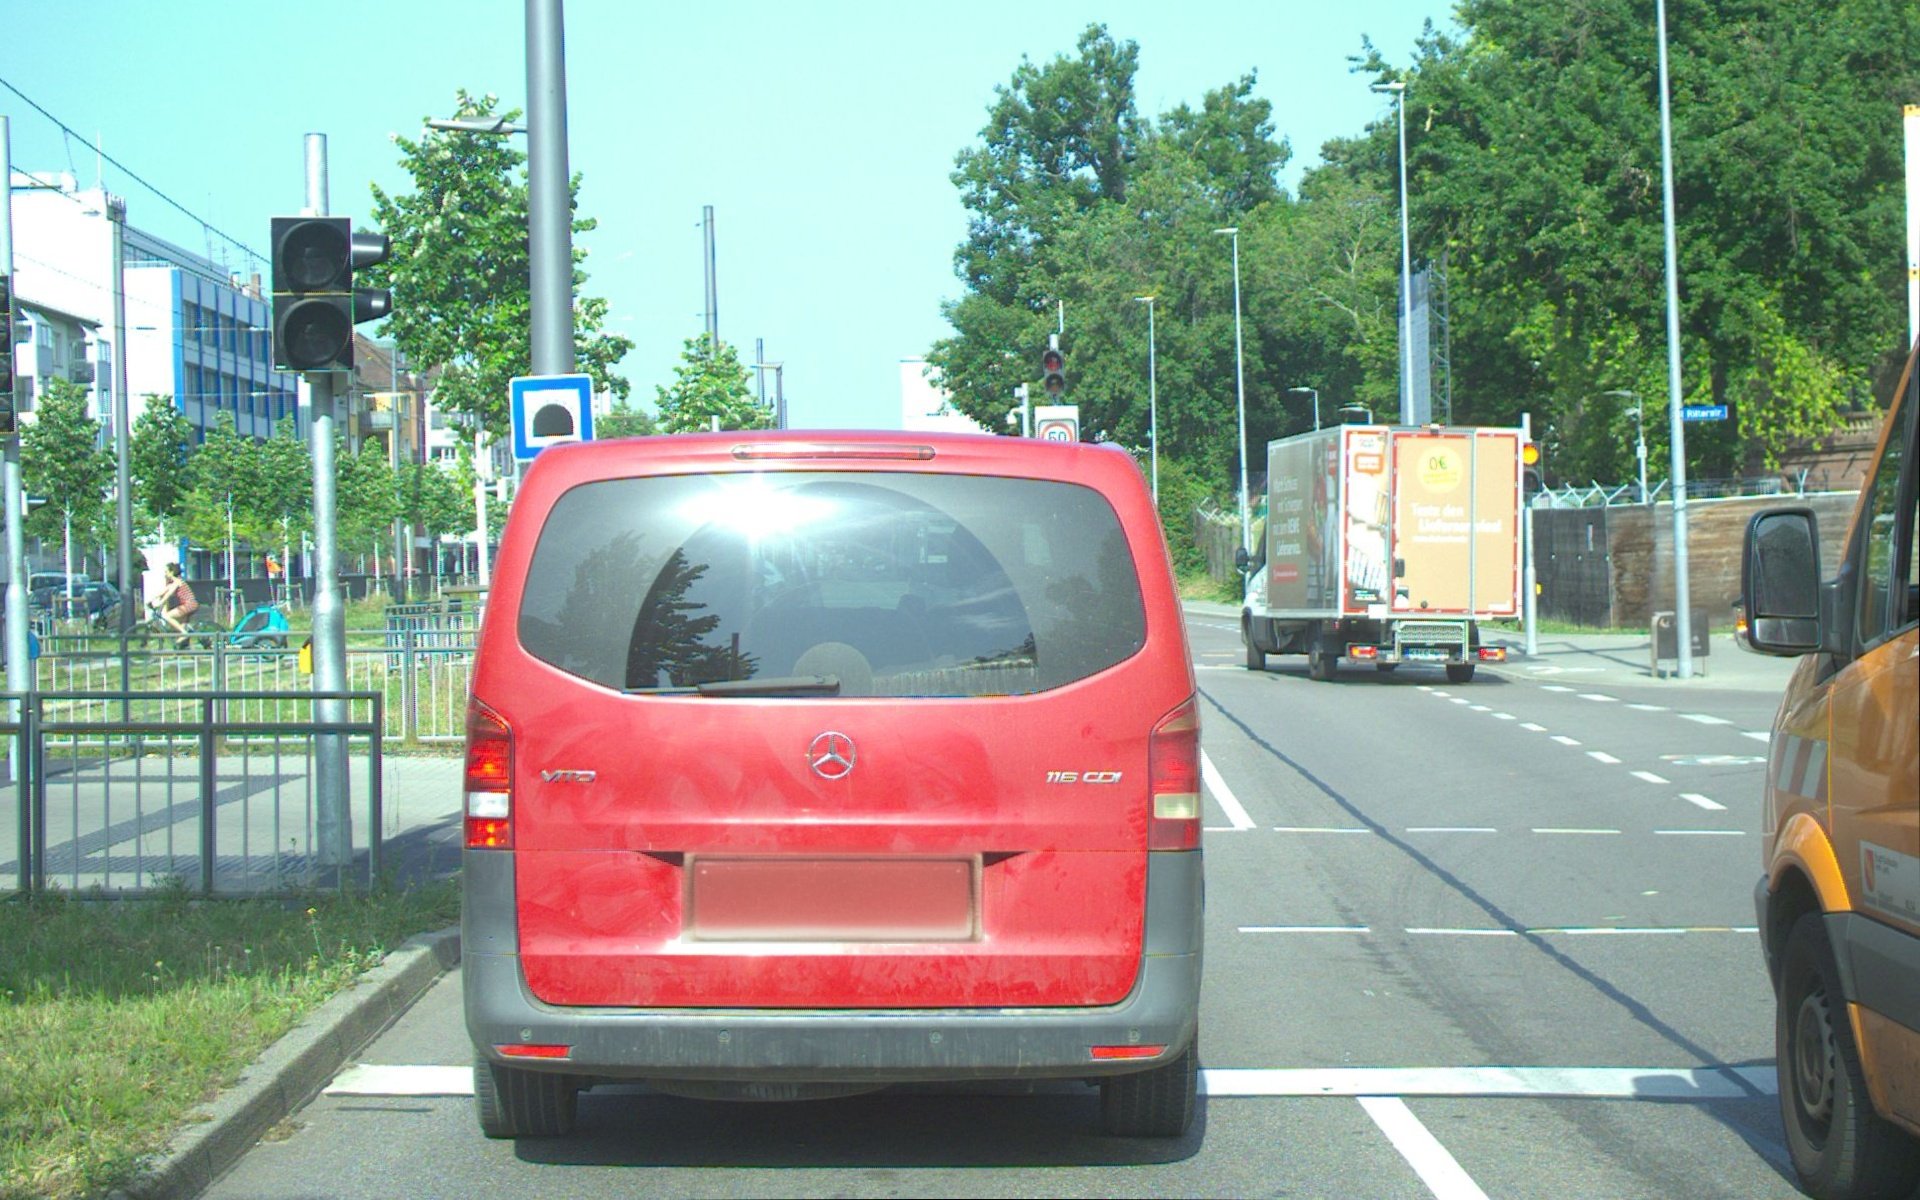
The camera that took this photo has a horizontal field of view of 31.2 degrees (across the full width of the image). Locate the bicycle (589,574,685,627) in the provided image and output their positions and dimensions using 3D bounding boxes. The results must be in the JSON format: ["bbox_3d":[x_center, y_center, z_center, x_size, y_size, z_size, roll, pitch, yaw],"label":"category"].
[{"bbox_3d":[-4.938,0.004,52.682,0.719,0.795,1.601,1,0,27],"label":"bicycle"}]

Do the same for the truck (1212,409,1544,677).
[{"bbox_3d":[5.106,-0.674,43.521,2.501,3.050,7.821,1,0,-6],"label":"truck"}]

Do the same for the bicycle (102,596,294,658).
[{"bbox_3d":[-12.768,0.444,57.662,2.988,0.962,0.900,-1,1,2],"label":"bicycle"}]

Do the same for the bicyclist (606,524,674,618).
[{"bbox_3d":[-4.910,-0.442,52.742,0.686,1.435,0.805,1,0,27],"label":"bicyclist"}]

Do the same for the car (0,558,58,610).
[{"bbox_3d":[-31.382,-0.524,114.240,1.742,1.668,4.000,-1,1,-1],"label":"car"}]

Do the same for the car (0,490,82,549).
[{"bbox_3d":[-35.212,-3.071,131.302,2.249,2.007,5.263,1,-1,-3],"label":"car"}]

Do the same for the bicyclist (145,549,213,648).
[{"bbox_3d":[-13.105,-0.036,57.684,0.890,1.623,0.892,-1,1,1],"label":"bicyclist"}]

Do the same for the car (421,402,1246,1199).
[{"bbox_3d":[-0.302,0.451,9.992,1.901,1.853,4.000,1,1,0],"label":"car"}]

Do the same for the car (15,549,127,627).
[{"bbox_3d":[-24.476,-0.334,94.743,1.993,2.007,4.000,-3,0,-1],"label":"car"}]

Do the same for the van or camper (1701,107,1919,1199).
[{"bbox_3d":[2.965,0.229,5.941,1.986,2.464,6.061,0,0,-1],"label":"van or camper"}]
